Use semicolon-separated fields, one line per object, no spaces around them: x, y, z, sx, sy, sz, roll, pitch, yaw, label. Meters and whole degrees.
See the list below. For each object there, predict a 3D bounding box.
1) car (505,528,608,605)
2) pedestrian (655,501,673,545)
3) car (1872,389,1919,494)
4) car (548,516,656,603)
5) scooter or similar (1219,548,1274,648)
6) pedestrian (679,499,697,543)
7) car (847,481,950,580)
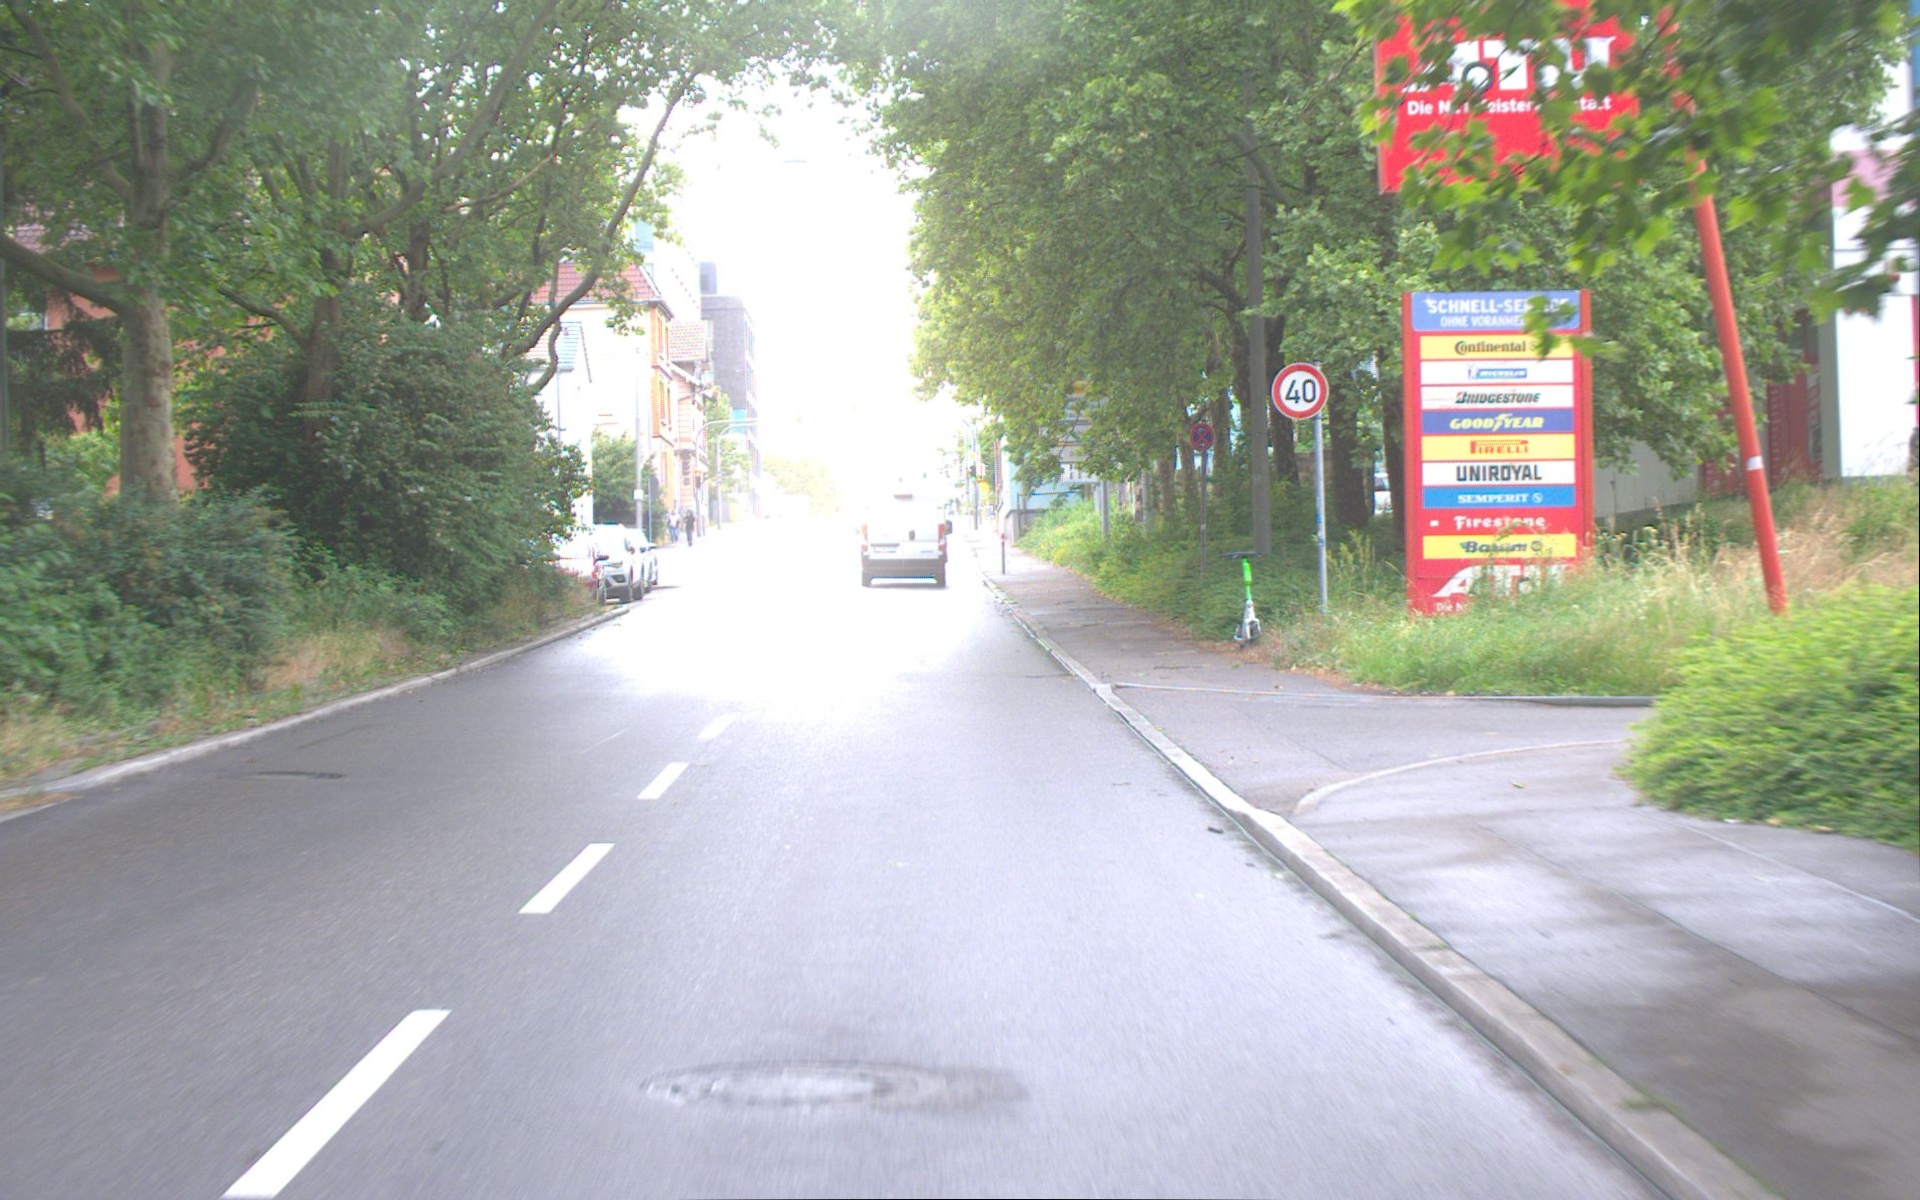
-7.479;-0.651;63.984;1.638;1.369;3.760;0;1;-3;car
-13.565;-3.527;157.637;0.671;2.007;0.941;0;1;3;pedestrian
14.430;-2.073;44.800;4.609;1.329;1.801;-1;1;-1;car
-7.200;-0.848;69.387;1.691;1.536;4.118;-4;2;0;car
3.335;-0.011;40.092;0.425;1.138;1.529;1;-1;-3;scooter or similar
-12.481;-3.629;157.909;0.671;2.007;0.941;0;1;4;pedestrian
-1.450;-1.635;82.741;2.336;2.223;4.000;-2;0;0;car
